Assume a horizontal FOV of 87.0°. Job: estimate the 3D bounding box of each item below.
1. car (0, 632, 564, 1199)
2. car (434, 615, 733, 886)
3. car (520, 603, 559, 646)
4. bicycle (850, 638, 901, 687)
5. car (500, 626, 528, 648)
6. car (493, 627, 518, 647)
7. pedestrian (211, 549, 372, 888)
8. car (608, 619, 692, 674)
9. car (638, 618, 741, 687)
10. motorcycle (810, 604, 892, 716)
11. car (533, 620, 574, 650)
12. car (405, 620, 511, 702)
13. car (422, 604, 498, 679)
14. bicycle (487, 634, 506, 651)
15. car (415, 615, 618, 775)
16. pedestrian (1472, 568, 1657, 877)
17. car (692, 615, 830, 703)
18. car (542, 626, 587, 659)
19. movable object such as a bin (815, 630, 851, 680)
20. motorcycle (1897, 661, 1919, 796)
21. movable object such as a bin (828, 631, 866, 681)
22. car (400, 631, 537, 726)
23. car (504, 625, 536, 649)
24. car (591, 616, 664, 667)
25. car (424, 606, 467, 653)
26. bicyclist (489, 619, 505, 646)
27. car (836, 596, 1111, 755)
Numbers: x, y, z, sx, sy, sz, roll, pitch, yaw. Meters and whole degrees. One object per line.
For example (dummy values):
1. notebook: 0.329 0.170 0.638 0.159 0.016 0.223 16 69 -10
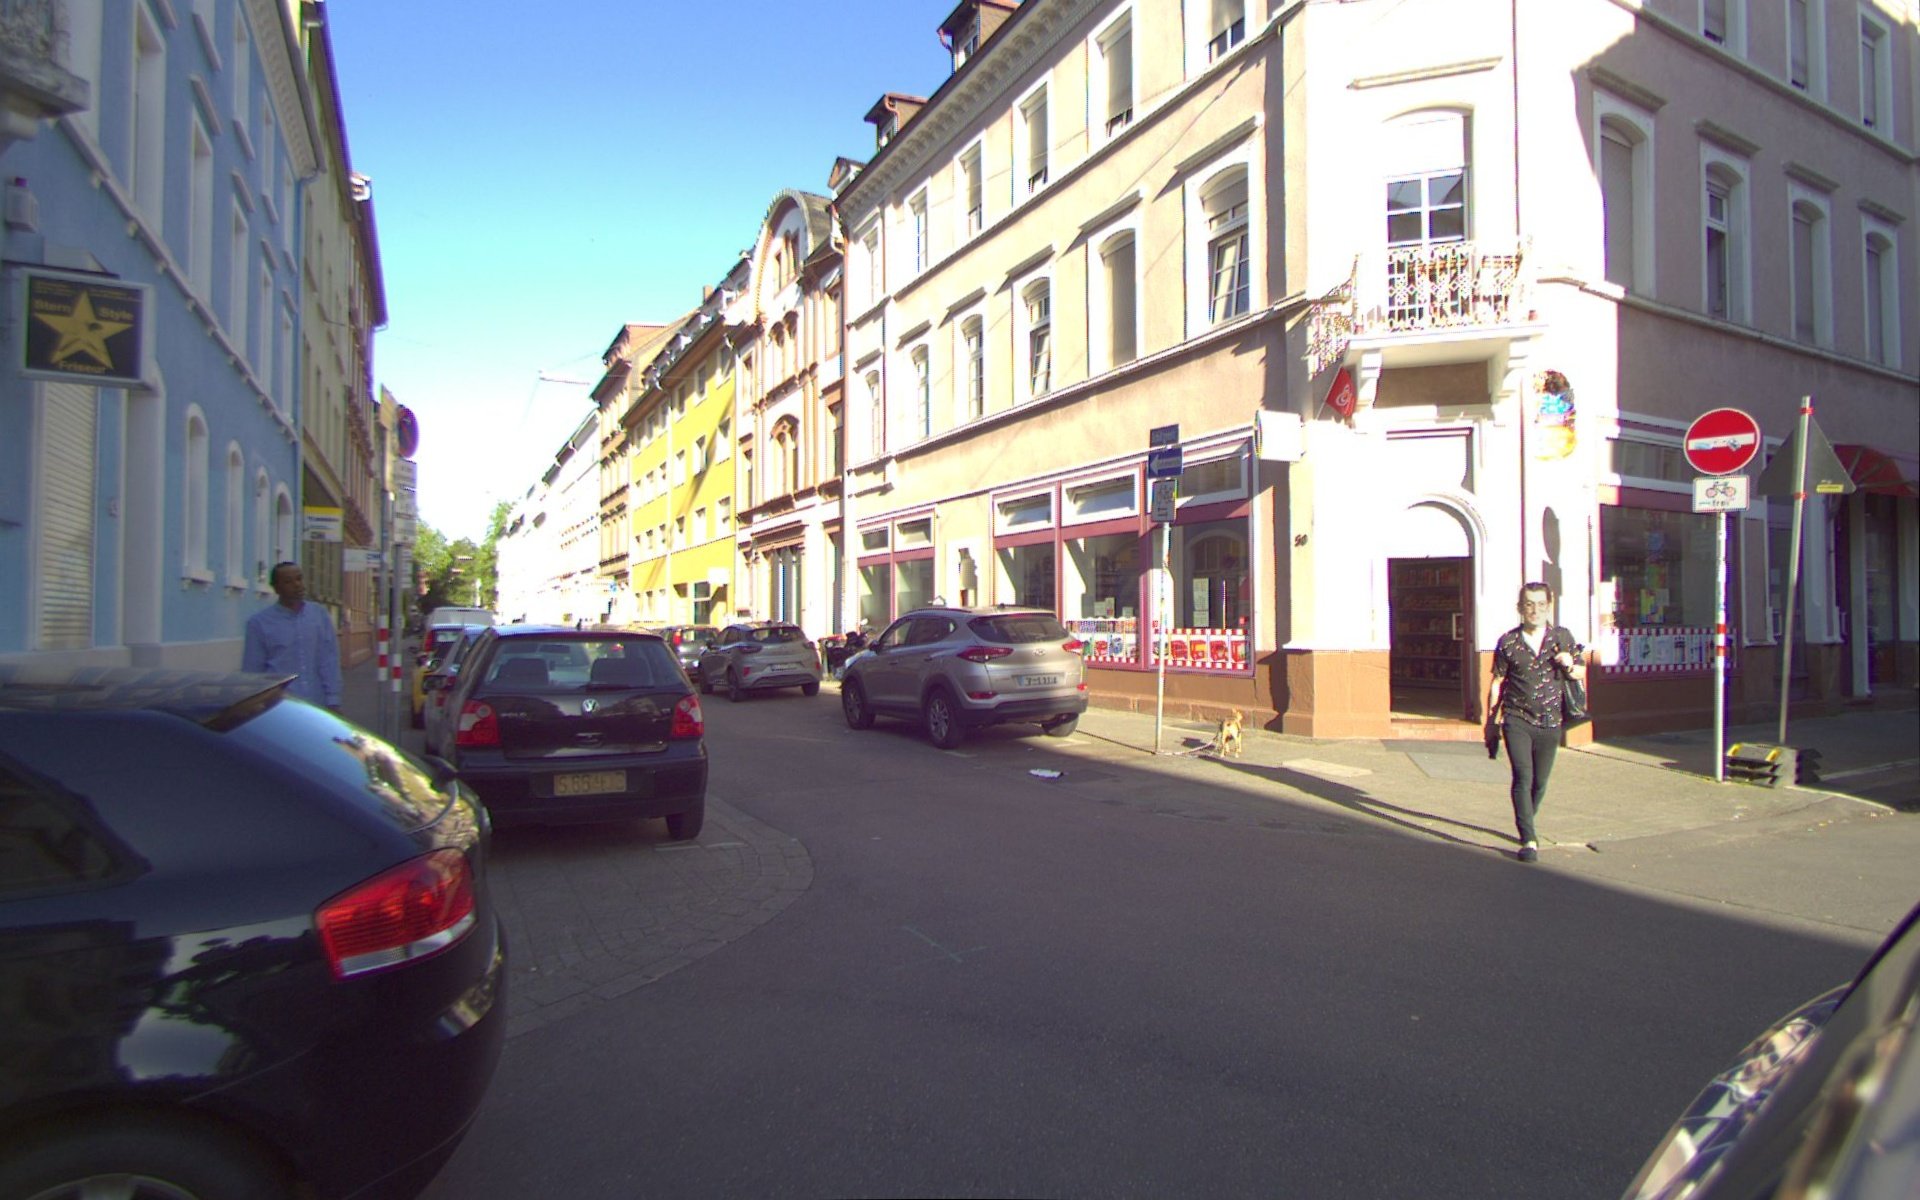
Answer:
1. car: -2.992 0.824 1.968 3.952 1.453 1.779 0 -2 -29
2. car: -3.040 0.870 7.652 1.642 1.472 3.884 0 -2 -28
3. car: -26.122 1.532 62.791 1.809 2.462 3.920 -3 0 -27
4. bicycle: -1.878 1.352 22.314 0.446 1.022 1.646 0 -2 -30
5. car: -34.591 2.841 78.461 1.717 1.532 3.920 -4 0 -27
6. car: -39.533 3.178 87.997 1.717 1.532 3.920 -4 0 -27
7. pedestrian: -4.026 0.664 6.149 0.765 1.873 0.772 0 -2 -32
8. car: -9.547 1.378 30.950 1.717 1.471 3.920 -4 0 -27
9. car: -7.073 1.292 26.212 1.717 1.532 3.920 -4 0 -27
10. motorcycle: -1.726 0.937 16.447 0.837 1.670 2.331 -1 -2 6
11. car: -23.028 1.972 57.209 1.717 1.532 3.920 -4 0 -27
12. car: -10.236 1.193 20.730 1.720 1.496 3.987 2 -2 -26
13. car: -14.320 1.145 29.063 1.798 1.971 4.559 1 -2 -26
14. bicycle: -26.087 2.372 56.961 0.798 0.914 2.171 0 -2 -28
15. car: -5.209 0.932 11.573 1.721 1.453 4.489 2 -2 -28
16. pedestrian: 3.866 0.708 6.565 0.818 1.815 0.984 1 1 20
17. car: -4.241 1.153 21.110 1.717 1.532 3.920 -4 0 -27
18. car: -20.534 2.154 52.447 1.717 1.532 3.920 -4 0 -27
19. movable object such as a bin: -3.065 1.330 24.446 0.666 1.173 0.569 0 -2 -30
20. motorcycle: 8.929 1.050 8.444 1.954 1.100 0.722 -1 -1 -17
21. movable object such as a bin: -2.648 1.287 23.631 0.653 1.131 0.718 0 -2 -27
22. car: -7.814 1.137 16.030 1.721 1.244 4.169 0 -1 -27
23. car: -31.236 2.607 71.821 1.717 1.532 3.920 -4 0 -27
24. car: -11.418 1.387 34.584 1.717 1.532 3.920 -4 0 -27
25. car: -25.184 1.434 49.525 1.716 2.079 3.920 -3 0 -27
26. bicyclist: -26.071 1.817 56.955 0.749 1.490 1.005 0 -2 -28
27. car: -0.013 0.863 13.198 1.819 1.653 4.077 -2 0 -27
